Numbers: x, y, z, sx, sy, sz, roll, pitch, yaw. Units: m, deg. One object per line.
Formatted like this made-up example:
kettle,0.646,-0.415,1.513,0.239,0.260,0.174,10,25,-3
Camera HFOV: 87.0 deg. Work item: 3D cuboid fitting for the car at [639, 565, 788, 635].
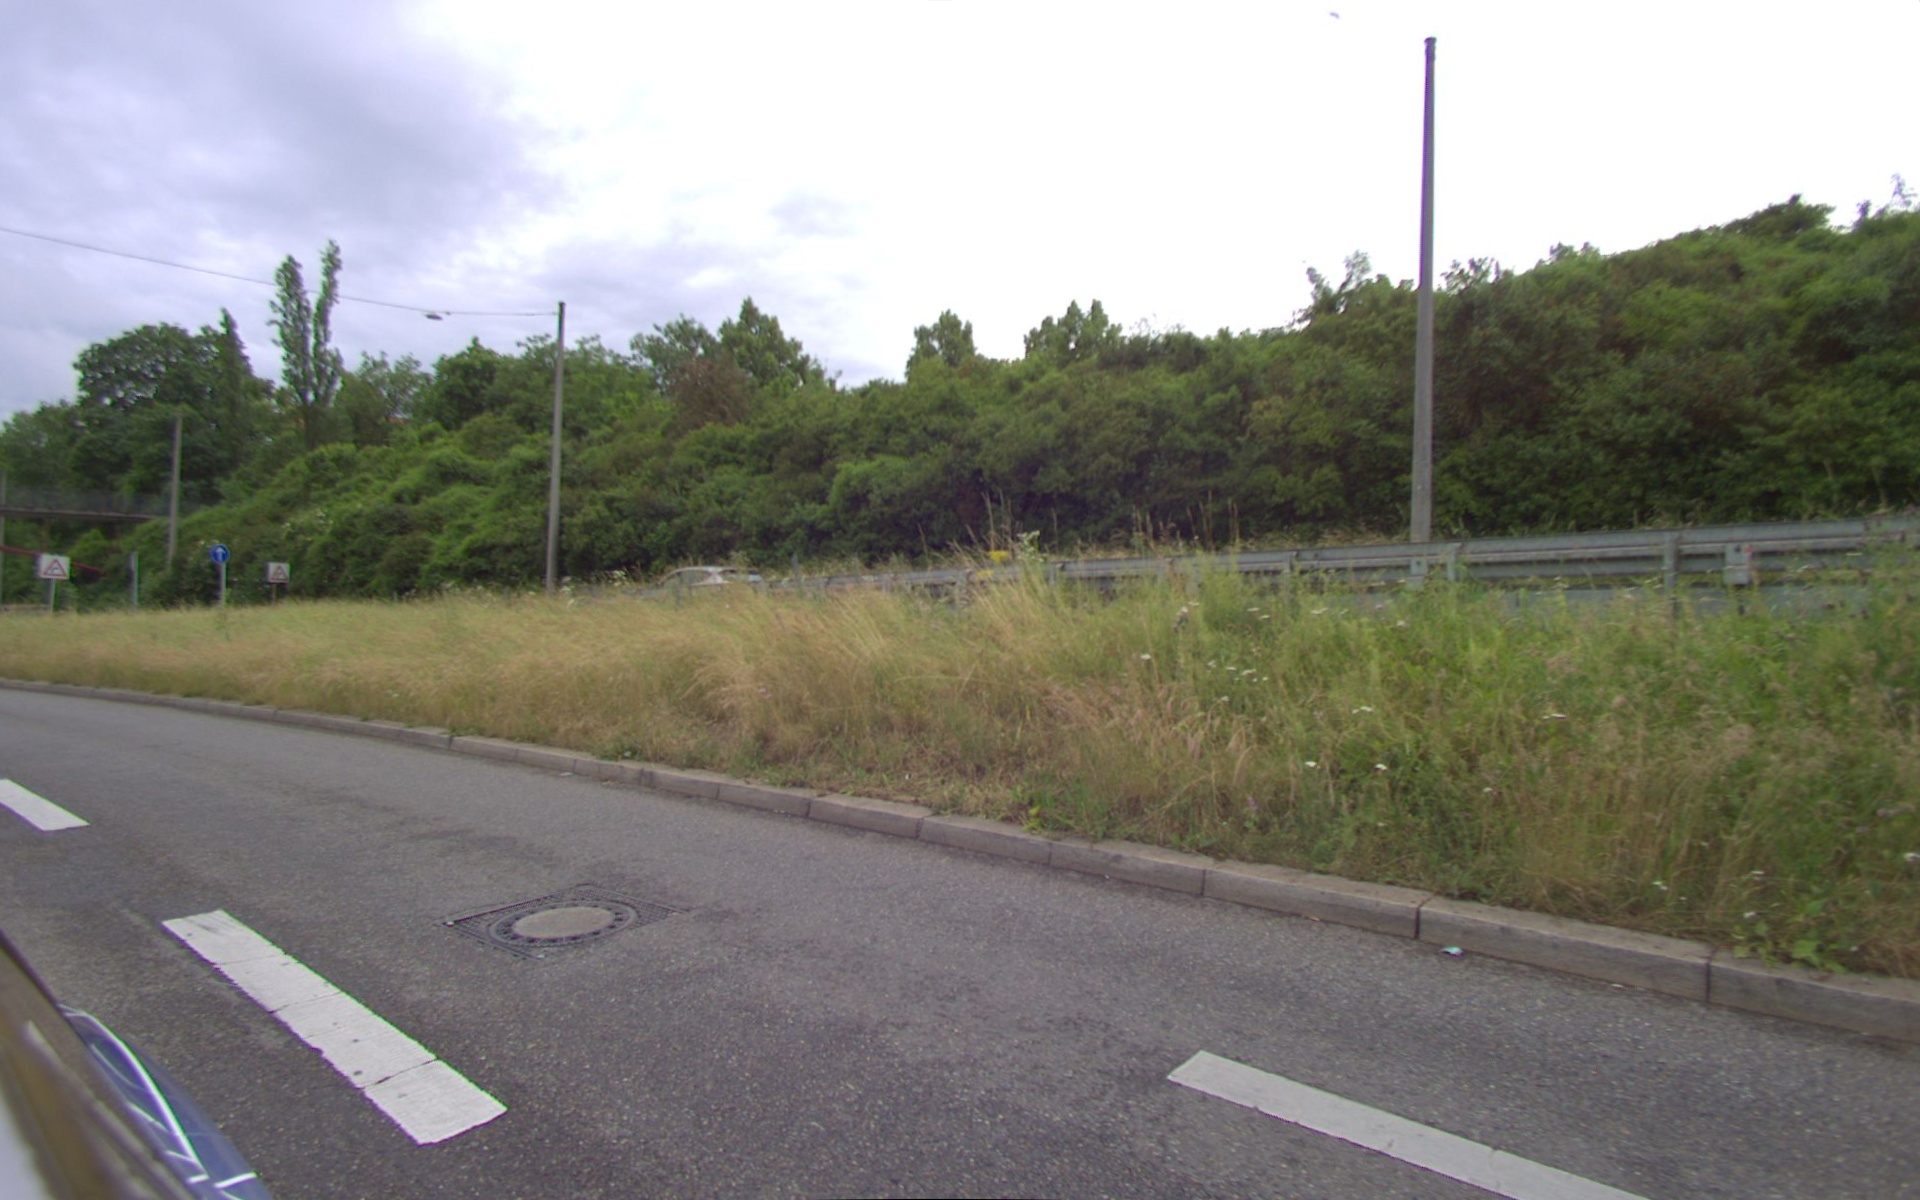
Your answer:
car,-6.123,0.048,25.019,3.675,1.529,1.717,-1,-5,41
